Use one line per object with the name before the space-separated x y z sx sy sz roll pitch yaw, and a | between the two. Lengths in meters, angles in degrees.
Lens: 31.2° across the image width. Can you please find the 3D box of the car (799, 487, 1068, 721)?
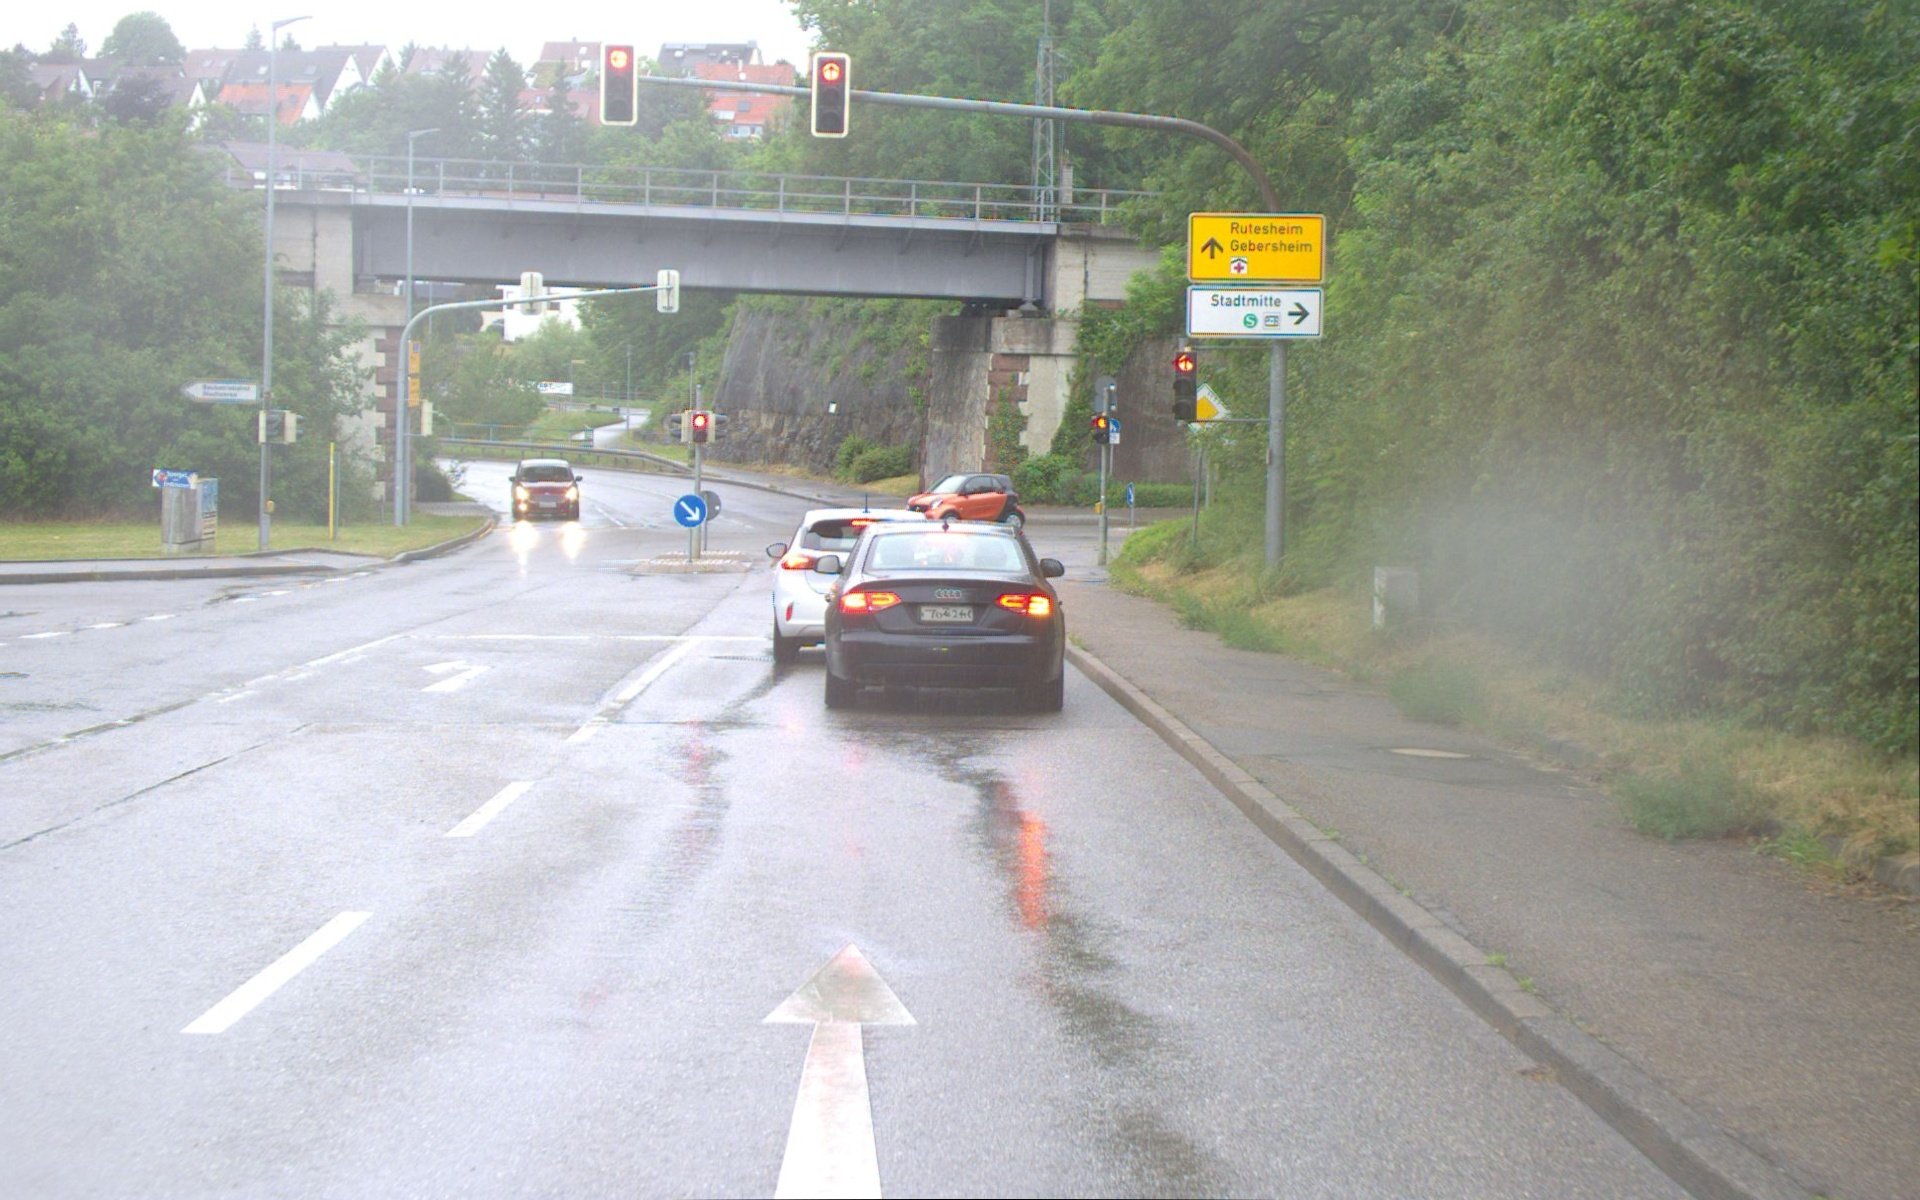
car | -0.220 -0.031 26.464 1.870 1.611 4.001 2 2 -1

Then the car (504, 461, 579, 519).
car | -12.125 -3.209 99.468 1.993 1.622 4.002 -1 3 -9

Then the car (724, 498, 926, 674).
car | -1.261 -0.159 33.165 1.823 1.579 4.000 0 1 -1

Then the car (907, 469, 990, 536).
car | -0.306 -2.395 85.055 1.993 1.579 4.000 0 1 -1
